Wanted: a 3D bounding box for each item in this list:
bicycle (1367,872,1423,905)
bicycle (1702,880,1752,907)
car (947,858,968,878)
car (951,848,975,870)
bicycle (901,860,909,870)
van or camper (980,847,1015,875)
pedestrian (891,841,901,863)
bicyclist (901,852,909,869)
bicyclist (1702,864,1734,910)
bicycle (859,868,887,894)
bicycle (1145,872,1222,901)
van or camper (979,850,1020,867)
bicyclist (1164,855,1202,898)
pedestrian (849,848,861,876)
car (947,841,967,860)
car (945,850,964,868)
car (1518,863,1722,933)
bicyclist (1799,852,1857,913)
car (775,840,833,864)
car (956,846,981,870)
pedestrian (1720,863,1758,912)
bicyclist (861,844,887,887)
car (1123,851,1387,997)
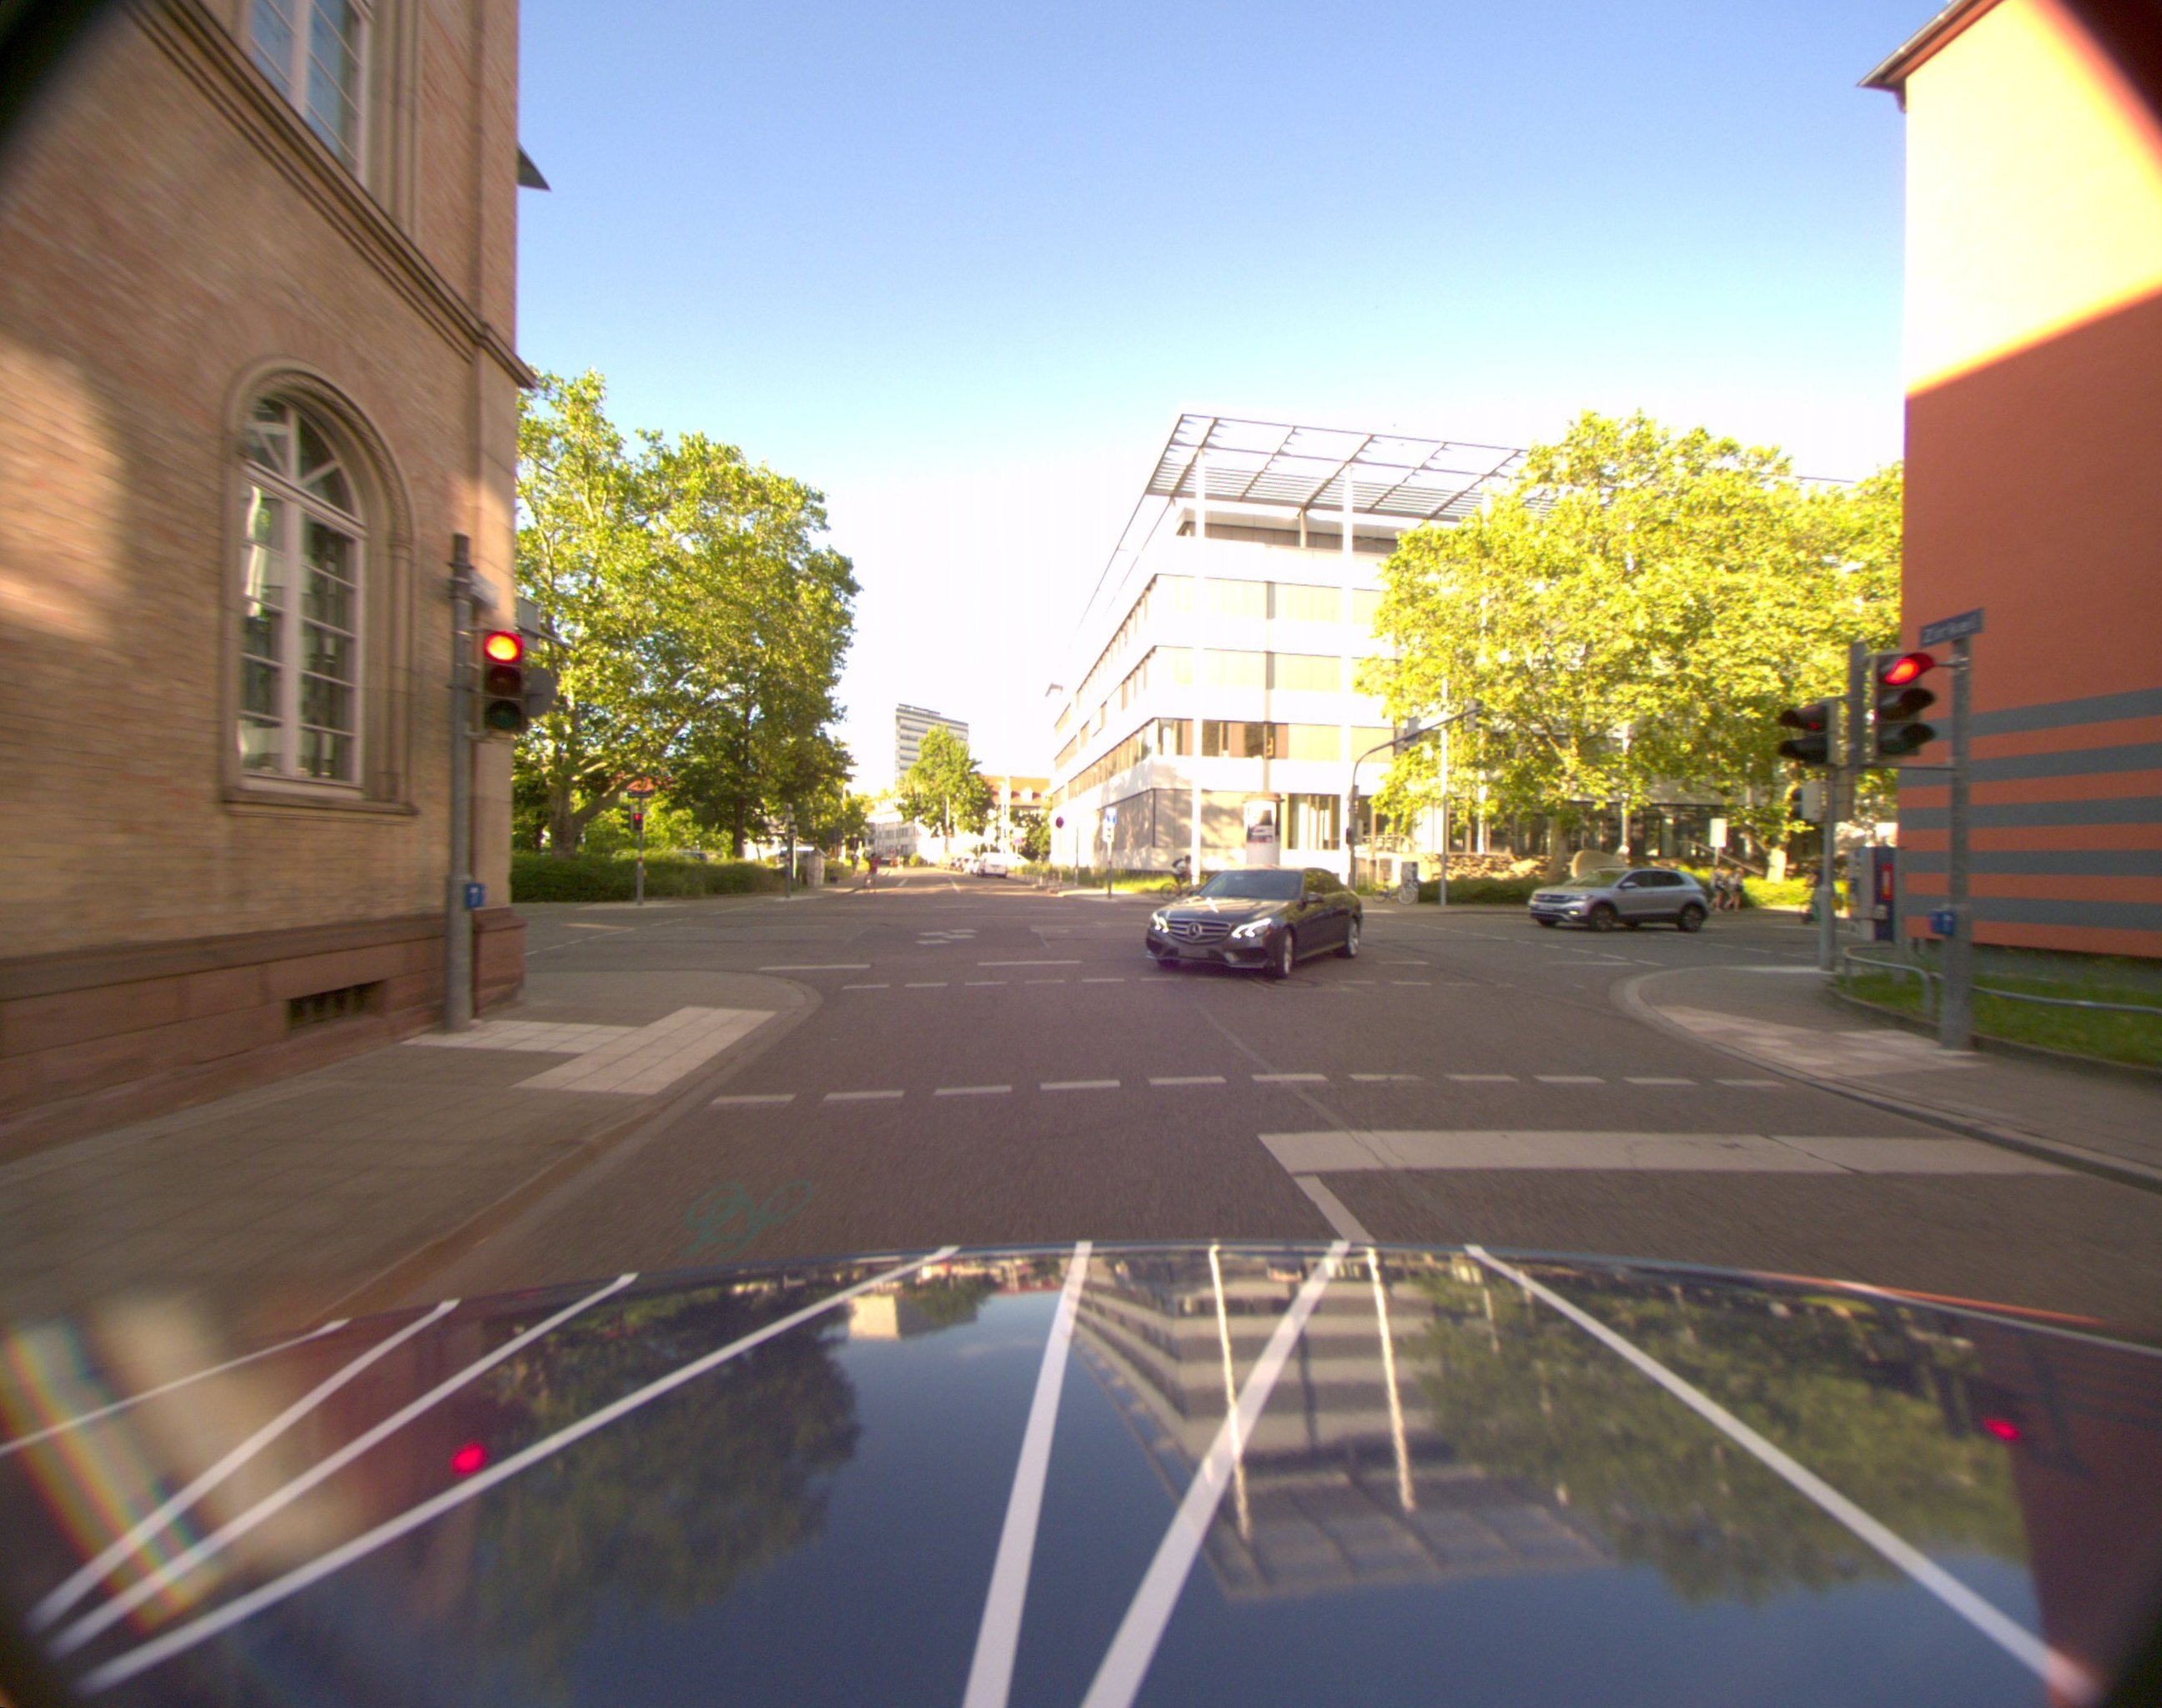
[{"bbox_3d":[11.959,1.284,29.008,0.471,1.175,1.987,0,1,-38],"label":"bicycle"},{"bbox_3d":[24.447,1.489,28.762,1.647,1.028,0.522,0,0,-10],"label":"bicycle"},{"bbox_3d":[-12.597,1.375,77.359,2.001,2.002,3.996,0,0,-12],"label":"car"},{"bbox_3d":[-11.150,0.461,71.657,2.001,2.002,3.996,0,0,-12],"label":"car"},{"bbox_3d":[-16.869,1.026,72.781,0.762,0.944,3.054,0,0,-14],"label":"bicycle"},{"bbox_3d":[-6.365,0.523,57.390,2.163,2.002,4.971,1,0,-11],"label":"van or camper"},{"bbox_3d":[-27.509,-0.279,112.853,1.460,3.289,1.404,0,0,-16],"label":"pedestrian"},{"bbox_3d":[-16.869,0.641,72.828,0.762,1.583,0.900,0,0,-14],"label":"bicyclist"},{"bbox_3d":[23.891,1.227,28.515,0.655,1.704,0.634,-1,1,-10],"label":"bicyclist"},{"bbox_3d":[-8.954,1.127,32.807,0.943,1.032,3.003,0,0,-12],"label":"bicycle"},{"bbox_3d":[3.801,1.212,28.264,2.654,1.045,0.984,-1,-1,22],"label":"bicycle"},{"bbox_3d":[-10.119,0.606,94.455,4.737,2.074,1.996,0,0,-21],"label":"van or camper"},{"bbox_3d":[3.810,0.820,28.239,1.123,1.537,0.955,3,1,23],"label":"bicyclist"},{"bbox_3d":[-14.966,0.549,50.364,0.668,1.844,1.024,0,0,-20],"label":"pedestrian"},{"bbox_3d":[-13.620,-0.363,83.274,2.001,2.002,3.996,0,0,-12],"label":"car"},{"bbox_3d":[-14.635,0.605,87.630,2.001,2.001,3.997,0,-2,-12],"label":"car"},{"bbox_3d":[13.135,1.037,18.617,4.000,1.594,1.747,1,0,-10],"label":"car"},{"bbox_3d":[21.547,0.809,21.931,0.901,1.723,0.770,0,2,-10],"label":"bicyclist"},{"bbox_3d":[-24.219,-0.165,66.618,4.569,2.101,1.997,0,0,-15],"label":"car"},{"bbox_3d":[-9.979,0.354,67.112,2.001,2.002,3.996,0,0,-12],"label":"car"},{"bbox_3d":[23.975,1.200,27.693,0.692,1.709,0.775,-1,2,-10],"label":"pedestrian"},{"bbox_3d":[-8.898,0.497,32.643,0.978,1.797,1.130,0,0,-11],"label":"bicyclist"},{"bbox_3d":[2.769,0.809,11.195,1.794,1.461,4.728,3,5,40],"label":"car"}]
